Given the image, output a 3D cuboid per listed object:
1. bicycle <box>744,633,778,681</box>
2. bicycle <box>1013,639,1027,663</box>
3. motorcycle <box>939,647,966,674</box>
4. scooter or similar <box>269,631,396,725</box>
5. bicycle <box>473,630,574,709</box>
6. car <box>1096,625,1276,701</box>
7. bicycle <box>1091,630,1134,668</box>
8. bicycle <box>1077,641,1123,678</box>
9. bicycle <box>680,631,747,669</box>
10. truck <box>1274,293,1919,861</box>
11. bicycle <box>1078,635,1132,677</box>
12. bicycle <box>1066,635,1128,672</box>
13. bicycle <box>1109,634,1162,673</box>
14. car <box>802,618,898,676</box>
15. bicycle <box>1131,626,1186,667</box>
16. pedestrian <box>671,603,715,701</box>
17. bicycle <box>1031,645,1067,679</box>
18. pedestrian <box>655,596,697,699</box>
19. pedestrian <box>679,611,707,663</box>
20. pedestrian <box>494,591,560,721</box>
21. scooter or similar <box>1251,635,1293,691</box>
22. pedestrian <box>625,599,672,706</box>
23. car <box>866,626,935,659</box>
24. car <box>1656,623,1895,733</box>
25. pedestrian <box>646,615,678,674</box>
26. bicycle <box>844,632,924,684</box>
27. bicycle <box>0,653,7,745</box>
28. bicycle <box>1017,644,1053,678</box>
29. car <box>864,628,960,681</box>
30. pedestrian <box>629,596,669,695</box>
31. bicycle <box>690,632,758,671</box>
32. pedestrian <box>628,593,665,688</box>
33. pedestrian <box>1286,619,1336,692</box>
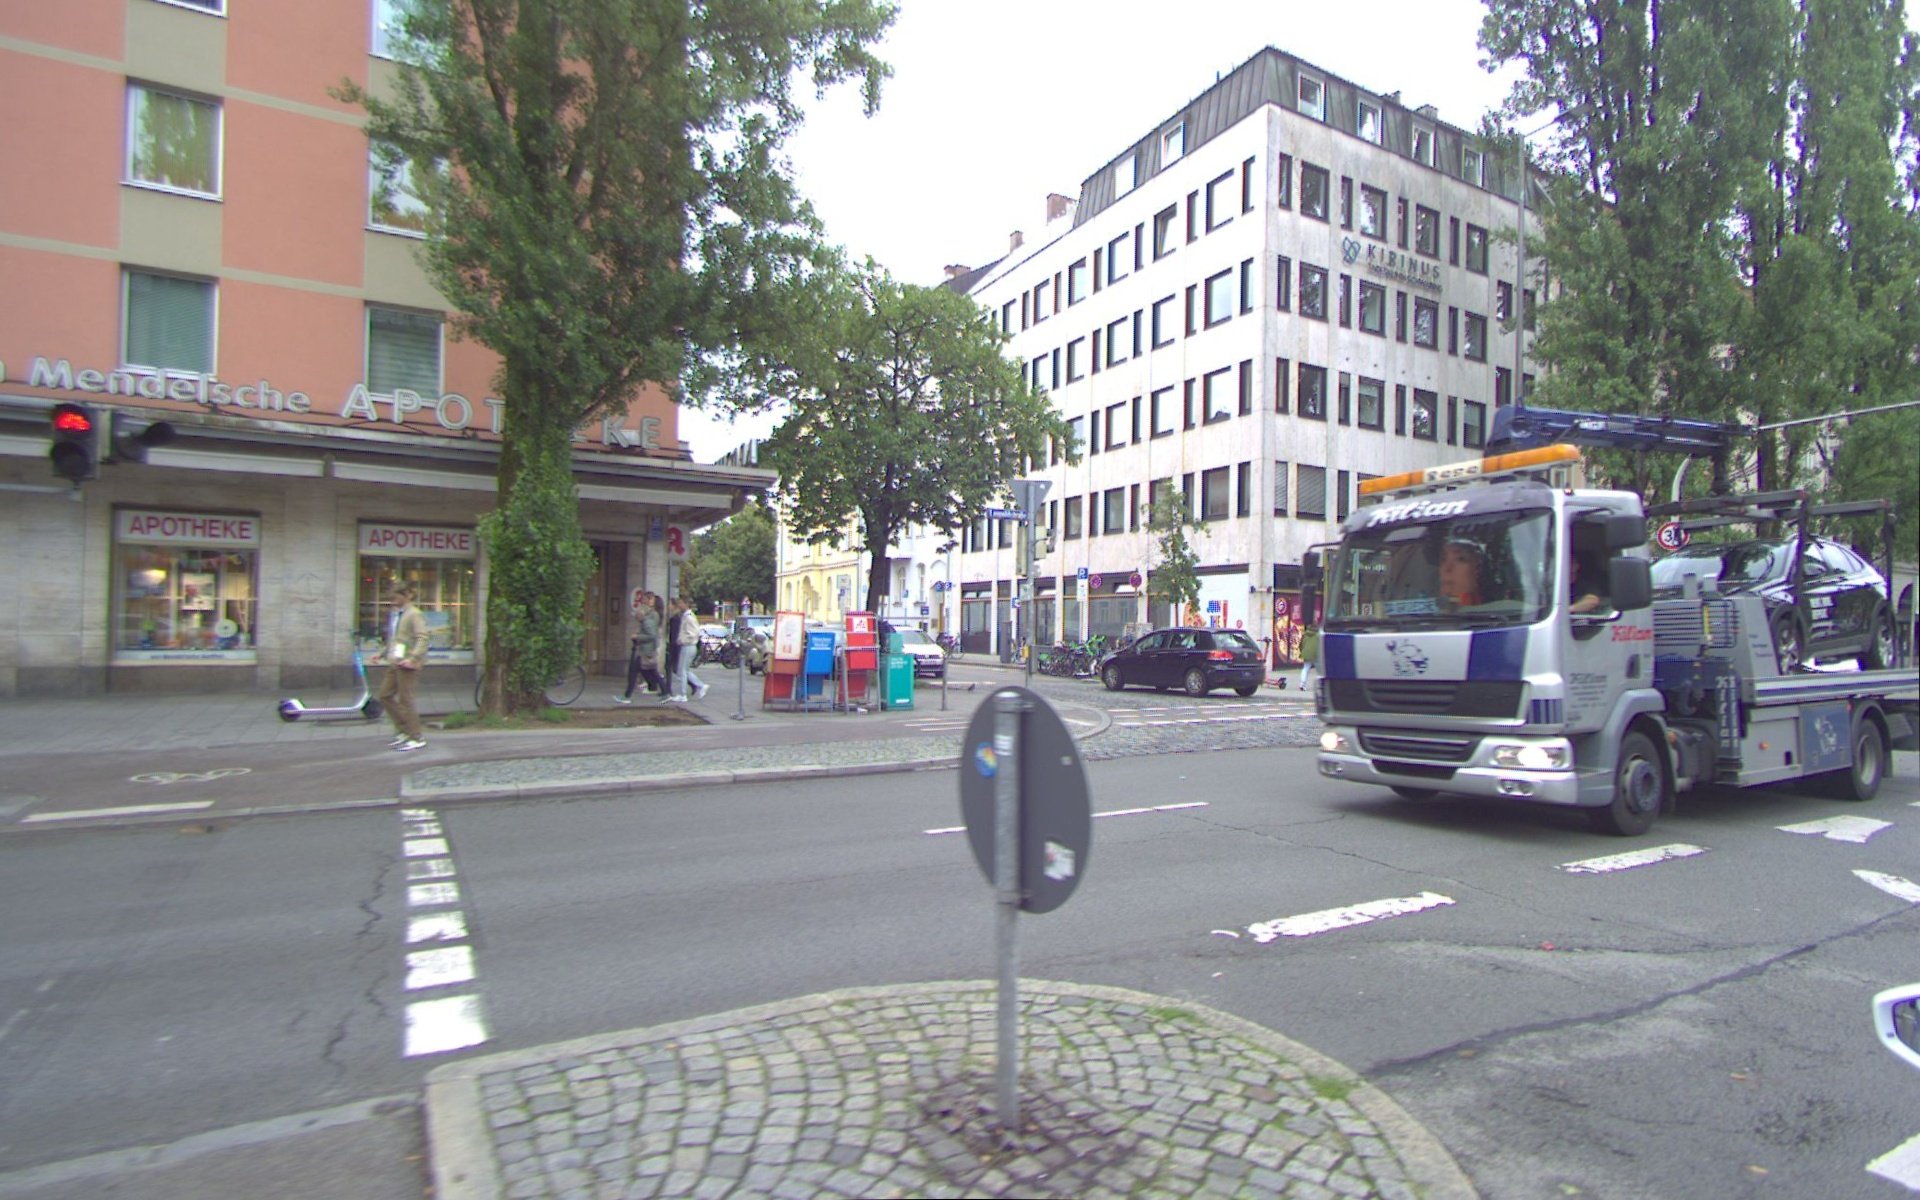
[{"bbox_3d":[-5.592,1.585,28.138,0.530,1.200,2.052,2,0,-22],"label":"bicycle"},{"bbox_3d":[2.447,2.080,41.053,0.400,0.936,1.797,1,-1,-2],"label":"bicycle"},{"bbox_3d":[-0.416,3.253,53.961,0.550,1.305,2.126,-3,1,-26],"label":"motorcycle"},{"bbox_3d":[-8.318,1.020,13.337,1.390,1.189,0.404,2,-1,-35],"label":"scooter or similar"},{"bbox_3d":[-6.641,1.052,15.313,1.357,1.156,0.419,2,-1,-30],"label":"bicycle"},{"bbox_3d":[4.922,1.322,22.274,1.756,1.494,3.666,2,-2,-36],"label":"car"},{"bbox_3d":[4.976,1.592,32.694,0.410,1.199,2.000,0,-1,39],"label":"bicycle"},{"bbox_3d":[4.774,2.004,34.198,0.444,1.199,2.051,0,-2,43],"label":"bicycle"},{"bbox_3d":[-8.149,1.646,33.268,2.044,1.199,0.682,2,-1,-38],"label":"bicycle"},{"bbox_3d":[6.911,-0.035,9.782,8.342,3.718,2.451,2,-1,-31],"label":"truck"},{"bbox_3d":[4.323,1.654,29.900,1.836,1.199,0.412,2,-1,-38],"label":"bicycle"},{"bbox_3d":[4.562,1.790,33.529,2.028,1.200,0.415,1,-1,-15],"label":"bicycle"},{"bbox_3d":[5.589,1.696,31.870,2.014,1.199,0.412,2,-1,-38],"label":"bicycle"},{"bbox_3d":[-3.261,1.310,29.149,1.756,1.439,3.980,2,0,-21],"label":"car"},{"bbox_3d":[6.525,1.514,33.108,0.551,1.266,2.124,2,-1,-28],"label":"bicycle"},{"bbox_3d":[-4.458,0.856,16.773,0.541,1.604,0.654,1,-1,-29],"label":"pedestrian"},{"bbox_3d":[3.020,2.096,34.375,0.410,1.061,2.054,1,-1,-19],"label":"bicycle"},{"bbox_3d":[-4.914,0.810,17.349,0.541,1.751,0.654,1,-1,-29],"label":"pedestrian"},{"bbox_3d":[-9.290,1.274,34.927,0.772,1.790,0.659,1,-1,-31],"label":"pedestrian"},{"bbox_3d":[-6.203,0.789,14.383,0.768,1.794,0.721,1,-1,-29],"label":"pedestrian"},{"bbox_3d":[7.901,1.577,25.455,0.430,1.357,1.363,1,-1,-10],"label":"scooter or similar"},{"bbox_3d":[-5.022,0.840,16.190,0.619,1.692,0.505,1,-1,-29],"label":"pedestrian"},{"bbox_3d":[-2.869,1.985,47.508,1.973,1.490,3.975,1,-2,-25],"label":"car"},{"bbox_3d":[14.547,1.314,17.857,4.582,1.738,1.828,2,-2,-31],"label":"car"},{"bbox_3d":[-9.272,1.373,31.218,0.772,1.790,0.659,2,0,-31],"label":"pedestrian"},{"bbox_3d":[-1.839,1.405,24.542,2.044,1.199,0.412,2,-1,-38],"label":"bicycle"},{"bbox_3d":[-11.353,1.064,10.789,1.777,0.999,0.330,1,-1,-5],"label":"bicycle"},{"bbox_3d":[2.541,2.077,34.259,0.410,1.061,2.054,1,-1,-19],"label":"bicycle"},{"bbox_3d":[-1.531,1.603,30.532,1.755,1.439,3.980,1,-1,-21],"label":"car"},{"bbox_3d":[-5.535,0.805,17.853,0.513,1.711,0.626,2,0,-29],"label":"pedestrian"},{"bbox_3d":[-7.666,1.660,32.651,2.044,1.199,0.682,2,-1,-38],"label":"bicycle"},{"bbox_3d":[-5.791,0.740,18.566,0.508,1.713,0.583,1,-1,-30],"label":"pedestrian"},{"bbox_3d":[8.795,1.376,25.167,0.931,1.763,0.723,2,0,-31],"label":"pedestrian"}]
